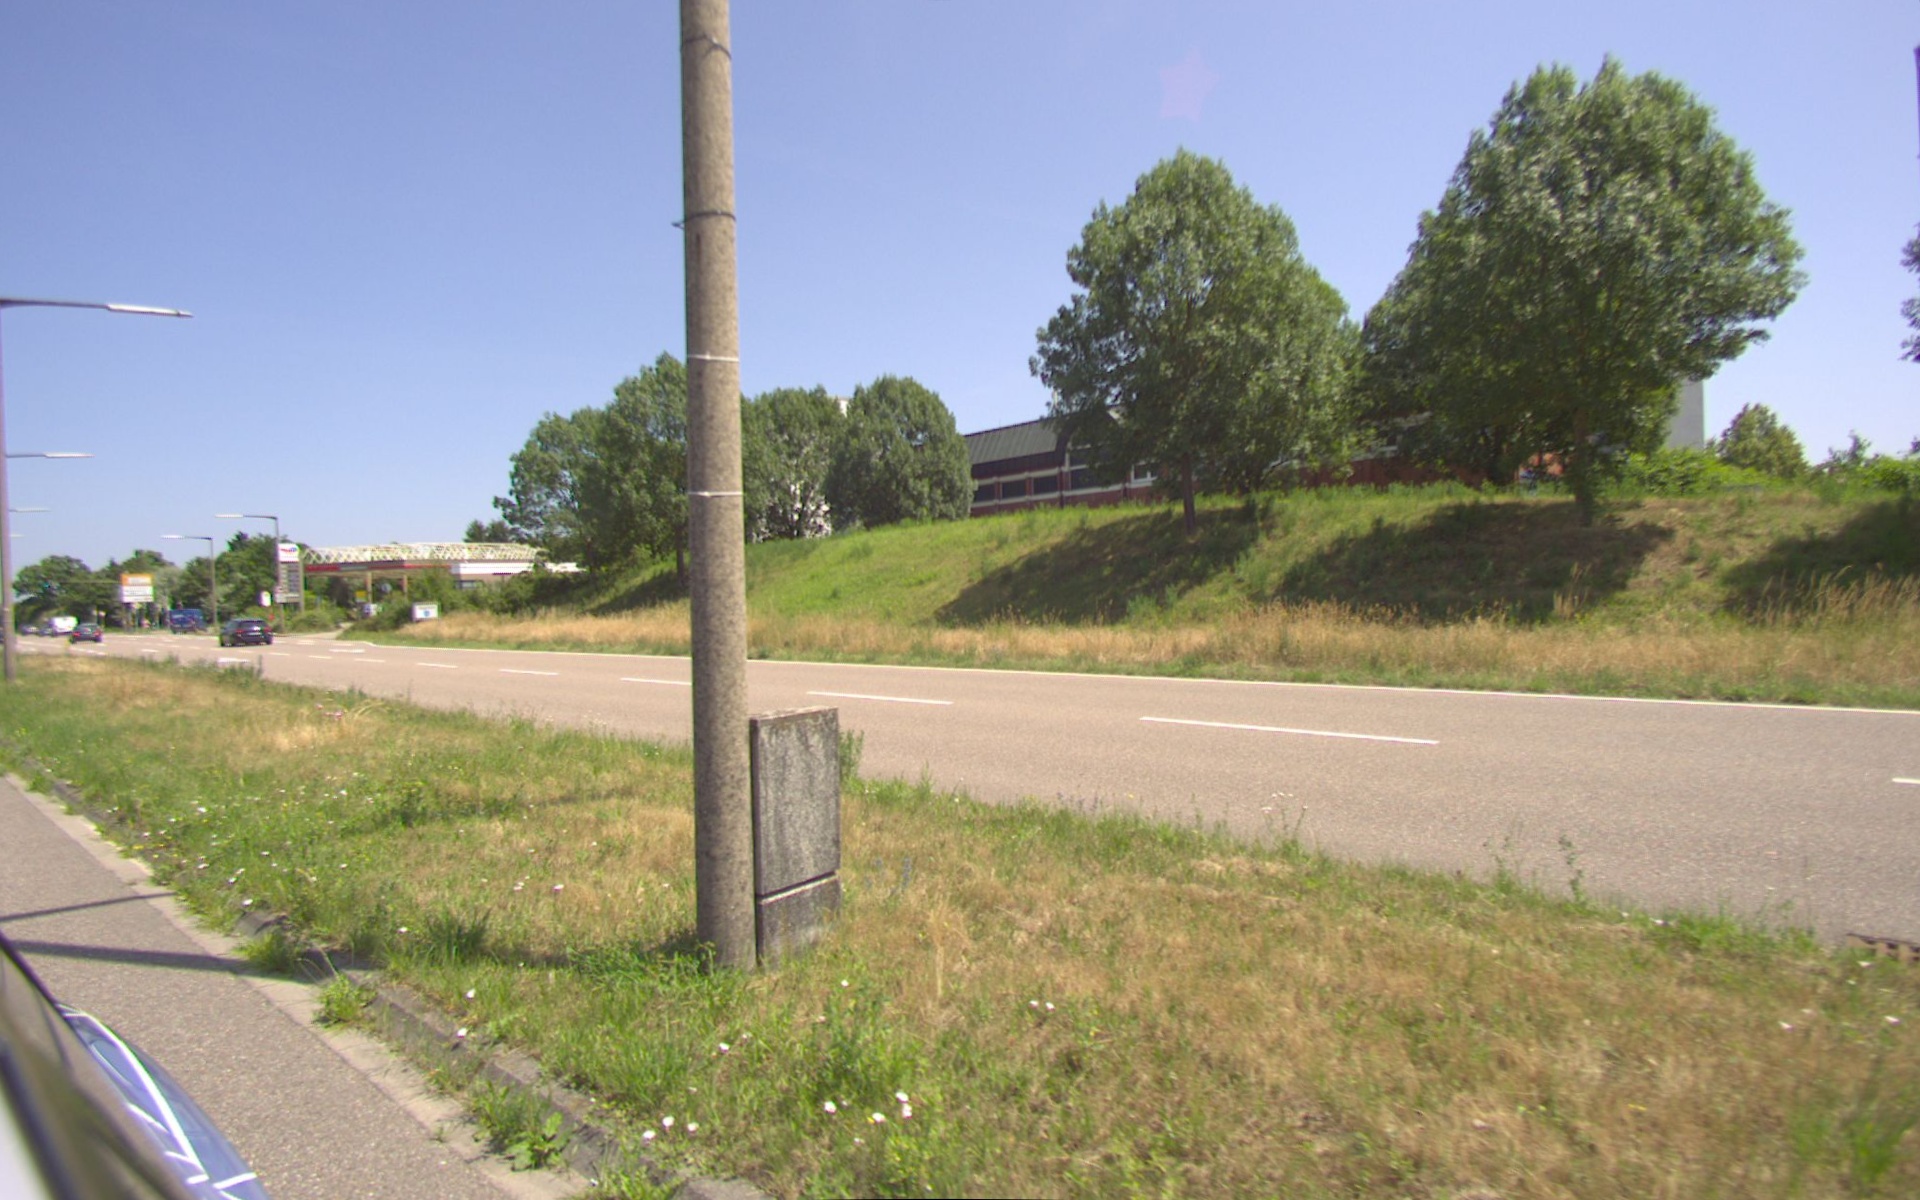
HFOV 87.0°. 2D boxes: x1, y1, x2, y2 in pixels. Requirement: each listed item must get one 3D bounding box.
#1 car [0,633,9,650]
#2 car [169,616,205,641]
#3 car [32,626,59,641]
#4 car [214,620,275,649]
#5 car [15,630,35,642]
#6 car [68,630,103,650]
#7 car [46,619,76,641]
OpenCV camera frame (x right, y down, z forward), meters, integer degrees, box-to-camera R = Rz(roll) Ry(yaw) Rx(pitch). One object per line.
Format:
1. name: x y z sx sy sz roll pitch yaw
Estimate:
1. car: -85.544 3.742 89.683 4.192 1.445 1.657 -2 1 44
2. car: -79.852 2.928 104.568 2.144 2.429 5.688 -3 0 -30
3. car: -117.447 4.312 129.982 5.019 1.763 1.944 -1 1 41
4. car: -37.437 1.788 52.889 1.970 1.370 4.670 -3 1 -43
5. car: -133.961 5.187 144.955 3.999 1.550 1.641 -2 4 42
6. car: -68.101 3.104 78.775 4.001 1.503 1.673 -2 0 44
7. car: -105.690 3.516 118.974 5.451 2.290 2.224 -2 2 45
